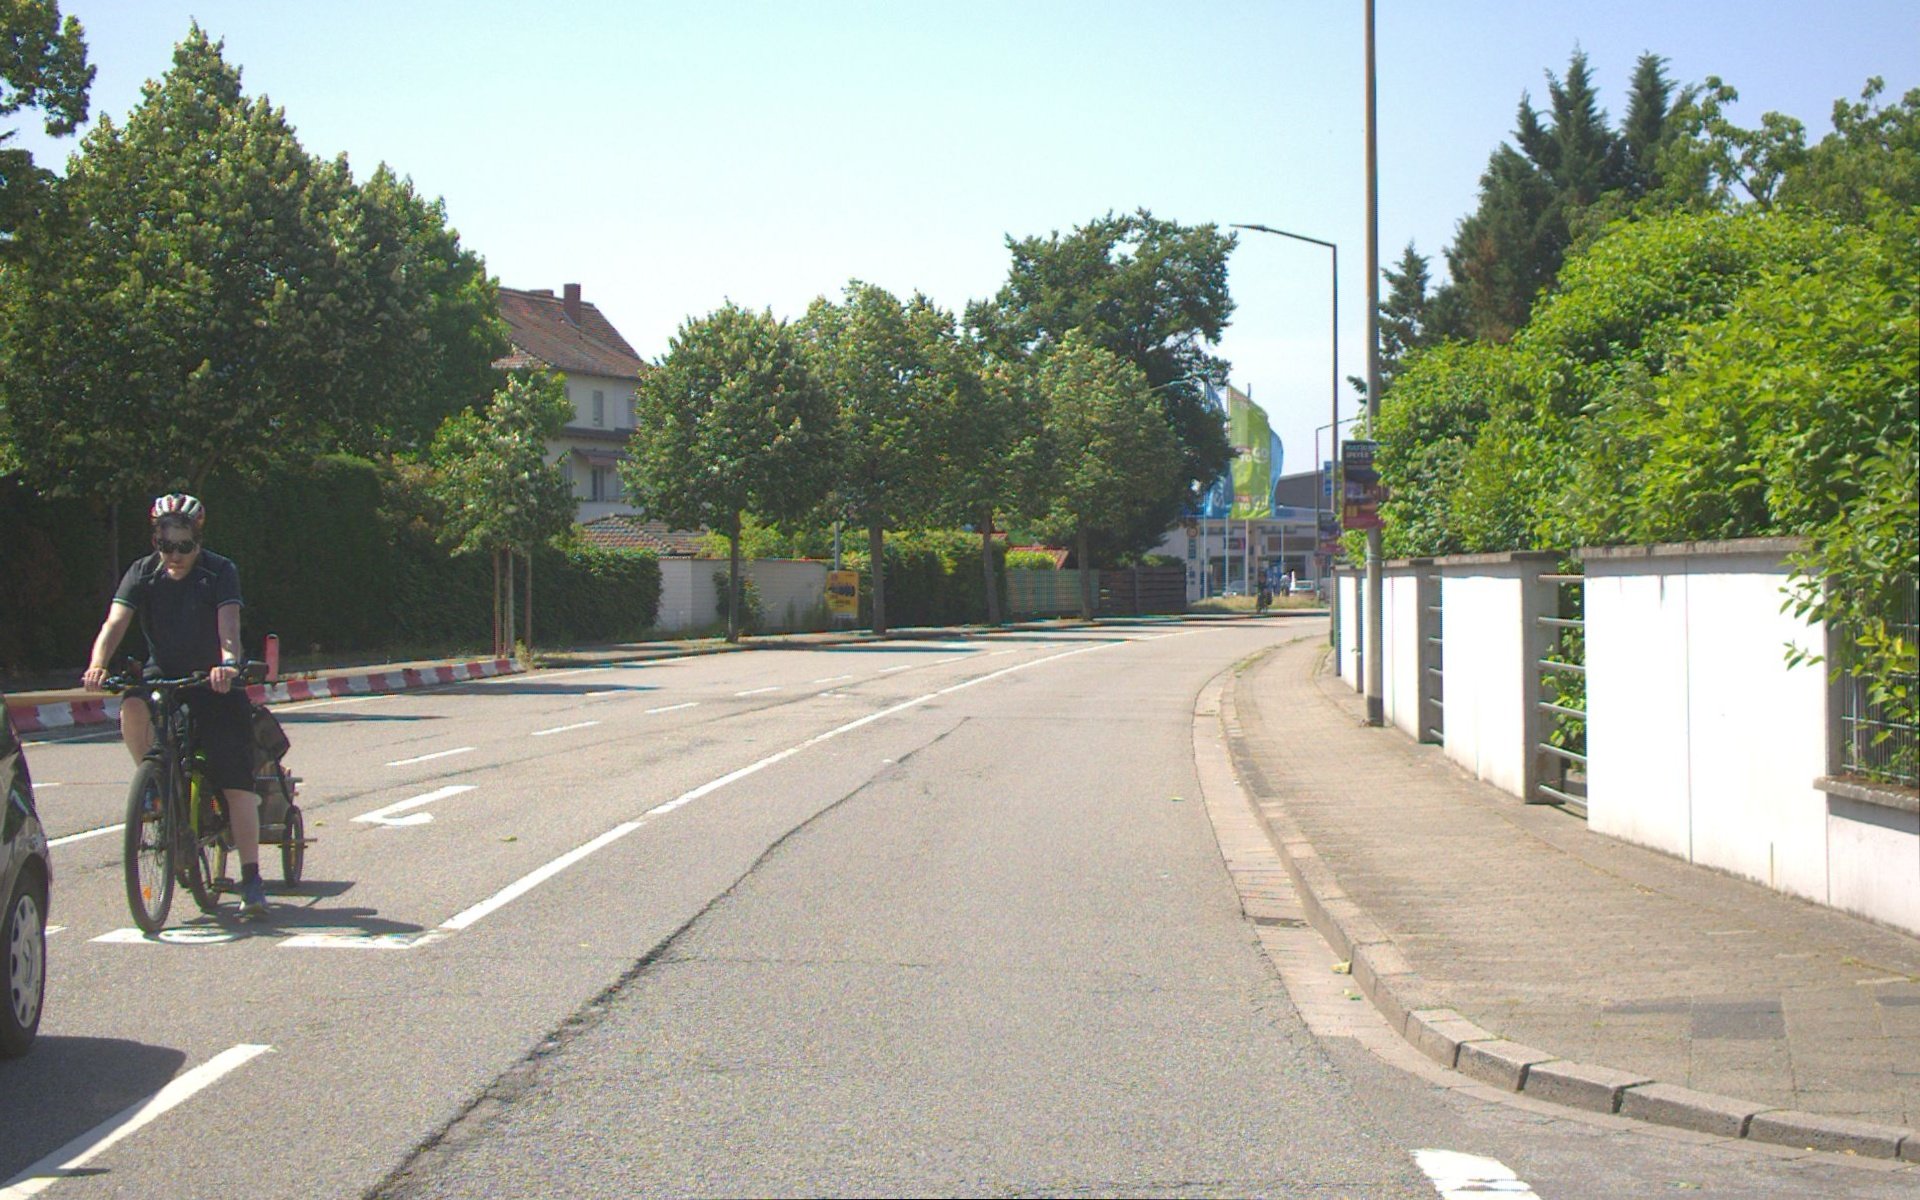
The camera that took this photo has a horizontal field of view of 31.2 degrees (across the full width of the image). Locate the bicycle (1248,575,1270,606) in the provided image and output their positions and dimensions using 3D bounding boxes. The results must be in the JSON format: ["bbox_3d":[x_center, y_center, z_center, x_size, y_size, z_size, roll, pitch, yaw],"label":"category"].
[{"bbox_3d":[11.803,-0.386,135.653,0.632,1.176,1.815,-1,1,13],"label":"bicycle"}]

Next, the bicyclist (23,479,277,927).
[{"bbox_3d":[-3.464,0.426,14.777,0.846,1.859,0.976,0,0,1],"label":"bicyclist"}]

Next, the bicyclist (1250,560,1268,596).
[{"bbox_3d":[11.794,-0.875,135.600,0.628,1.404,0.676,-1,0,13],"label":"bicyclist"}]

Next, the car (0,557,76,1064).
[{"bbox_3d":[-3.694,0.625,9.321,1.725,1.527,3.830,1,0,-2],"label":"car"}]

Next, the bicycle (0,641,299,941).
[{"bbox_3d":[-3.464,0.775,14.770,0.850,1.162,1.977,0,0,1],"label":"bicycle"}]

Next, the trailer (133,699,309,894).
[{"bbox_3d":[-3.495,0.918,16.332,0.570,0.853,1.132,0,0,1],"label":"trailer"}]

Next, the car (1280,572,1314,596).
[{"bbox_3d":[20.851,-0.993,212.677,1.618,1.415,3.709,-2,0,13],"label":"car"}]
